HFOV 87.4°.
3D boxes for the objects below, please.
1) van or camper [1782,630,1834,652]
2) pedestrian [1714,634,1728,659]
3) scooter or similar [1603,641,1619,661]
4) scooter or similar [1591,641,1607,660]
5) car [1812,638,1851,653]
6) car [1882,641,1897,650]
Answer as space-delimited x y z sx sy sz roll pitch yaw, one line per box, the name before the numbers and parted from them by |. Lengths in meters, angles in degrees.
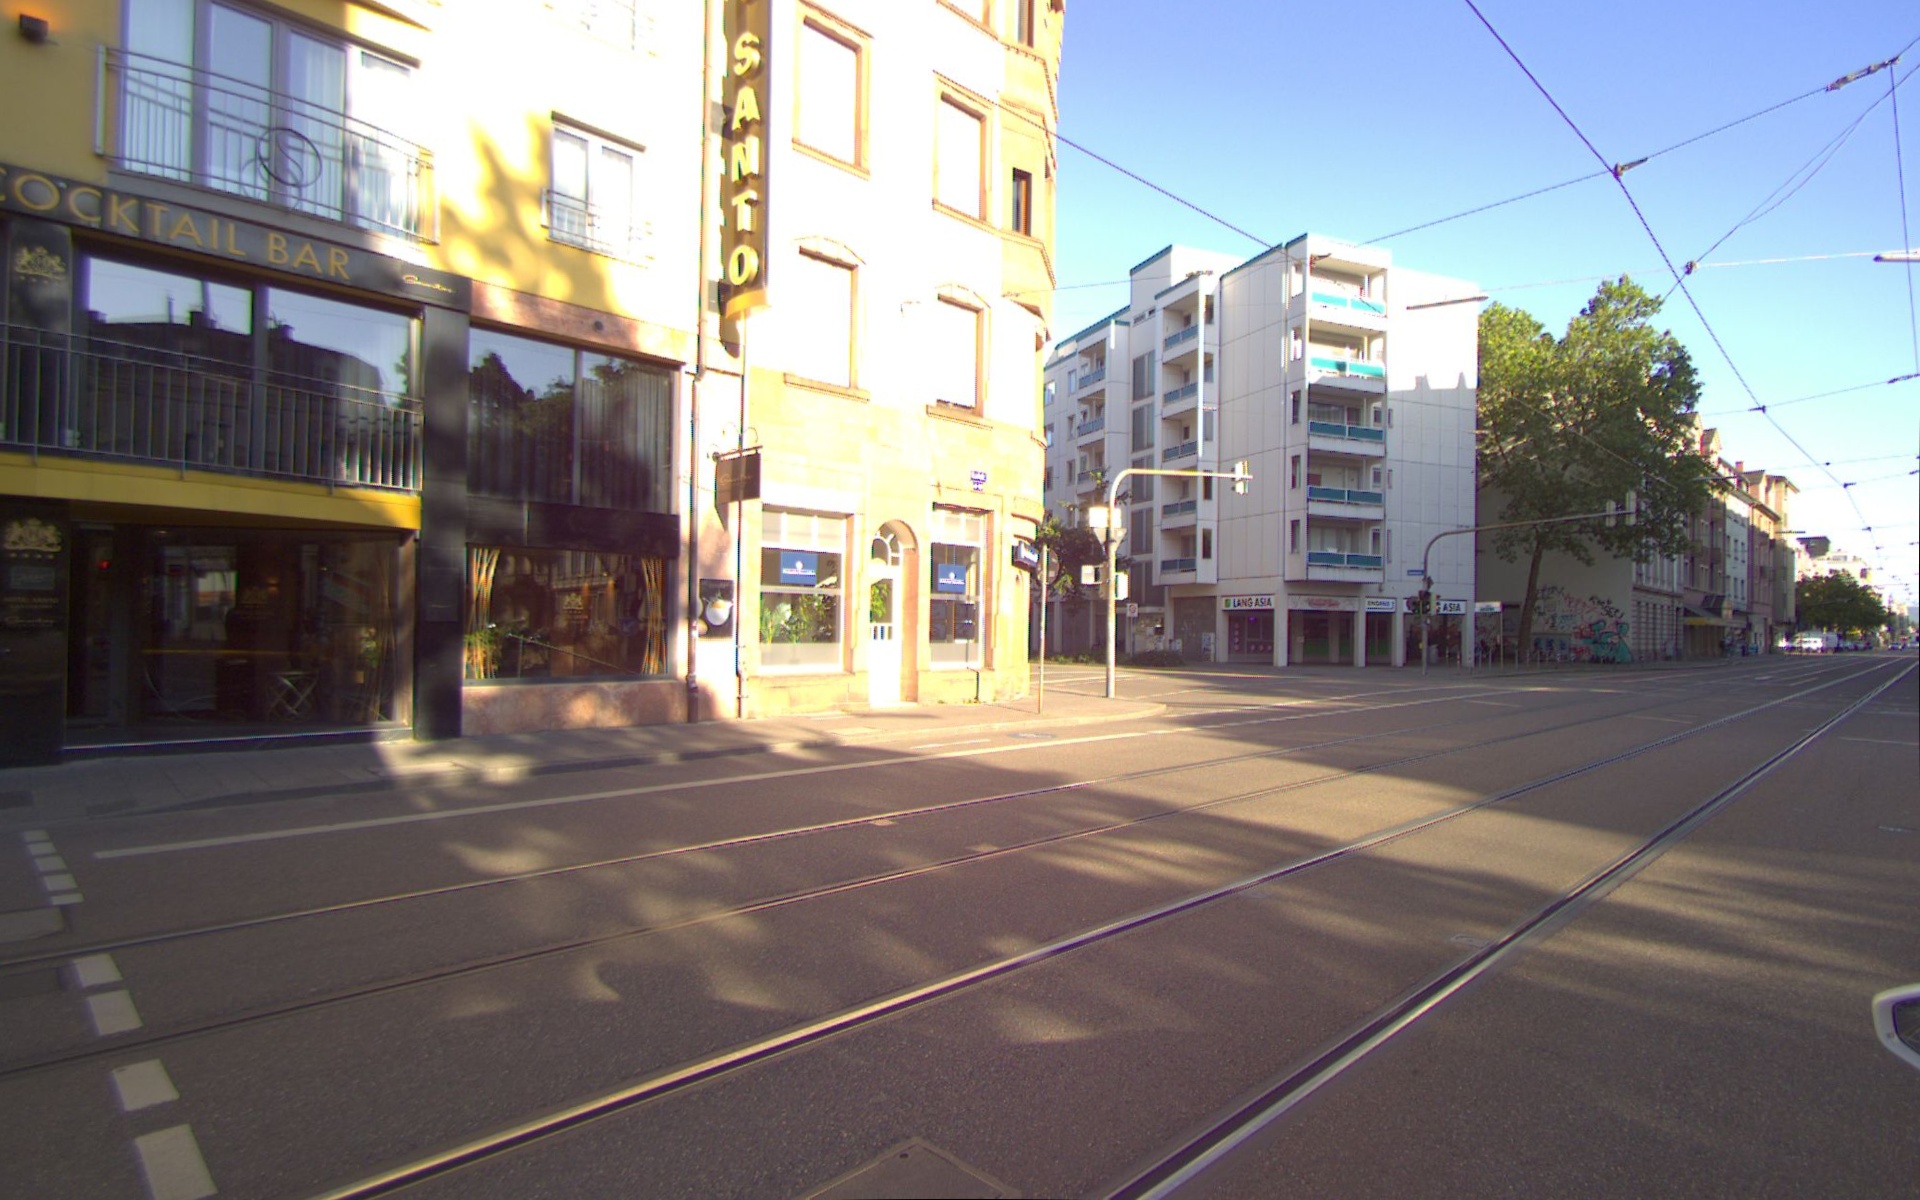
van or camper | 106.110 5.176 125.780 4.556 2.597 2.001 1 -1 15
pedestrian | 53.727 3.252 70.887 0.643 1.751 0.694 2 -2 -45
scooter or similar | 36.601 2.847 56.439 0.511 1.071 1.470 0 -2 43
scooter or similar | 36.150 2.850 56.856 0.511 1.059 1.470 0 -2 43
car | 130.698 6.797 150.666 3.922 2.040 2.000 0 -1 21
car | 162.289 7.947 175.395 1.801 1.461 3.975 0 -2 45
